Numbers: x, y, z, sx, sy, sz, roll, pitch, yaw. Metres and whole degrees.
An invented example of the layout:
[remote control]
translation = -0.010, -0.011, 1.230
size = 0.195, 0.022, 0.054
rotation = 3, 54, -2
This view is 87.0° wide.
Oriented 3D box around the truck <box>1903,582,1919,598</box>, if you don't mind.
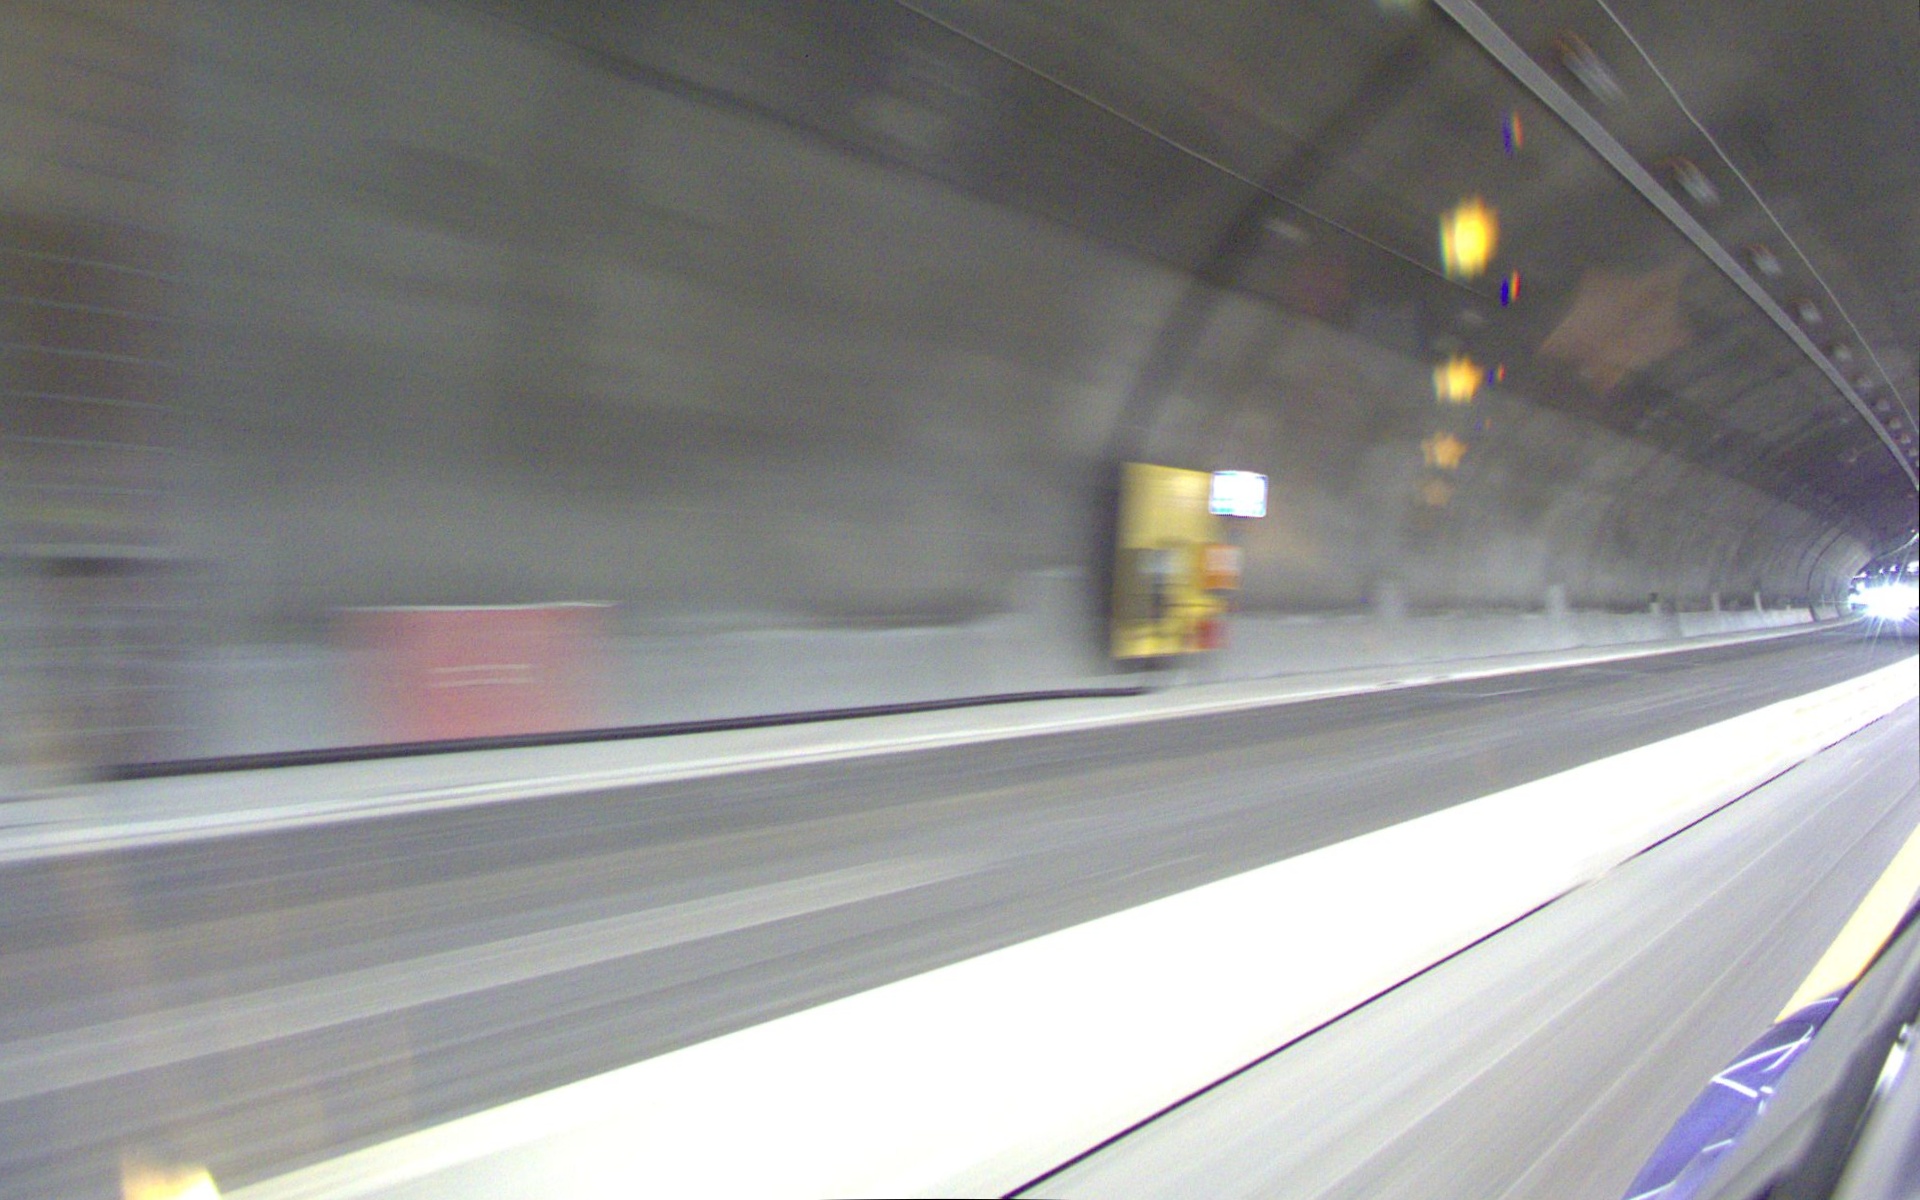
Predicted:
[truck]
translation = 164.054, -1.691, 173.850
size = 2.600, 2.773, 6.304
rotation = 1, 1, 40
